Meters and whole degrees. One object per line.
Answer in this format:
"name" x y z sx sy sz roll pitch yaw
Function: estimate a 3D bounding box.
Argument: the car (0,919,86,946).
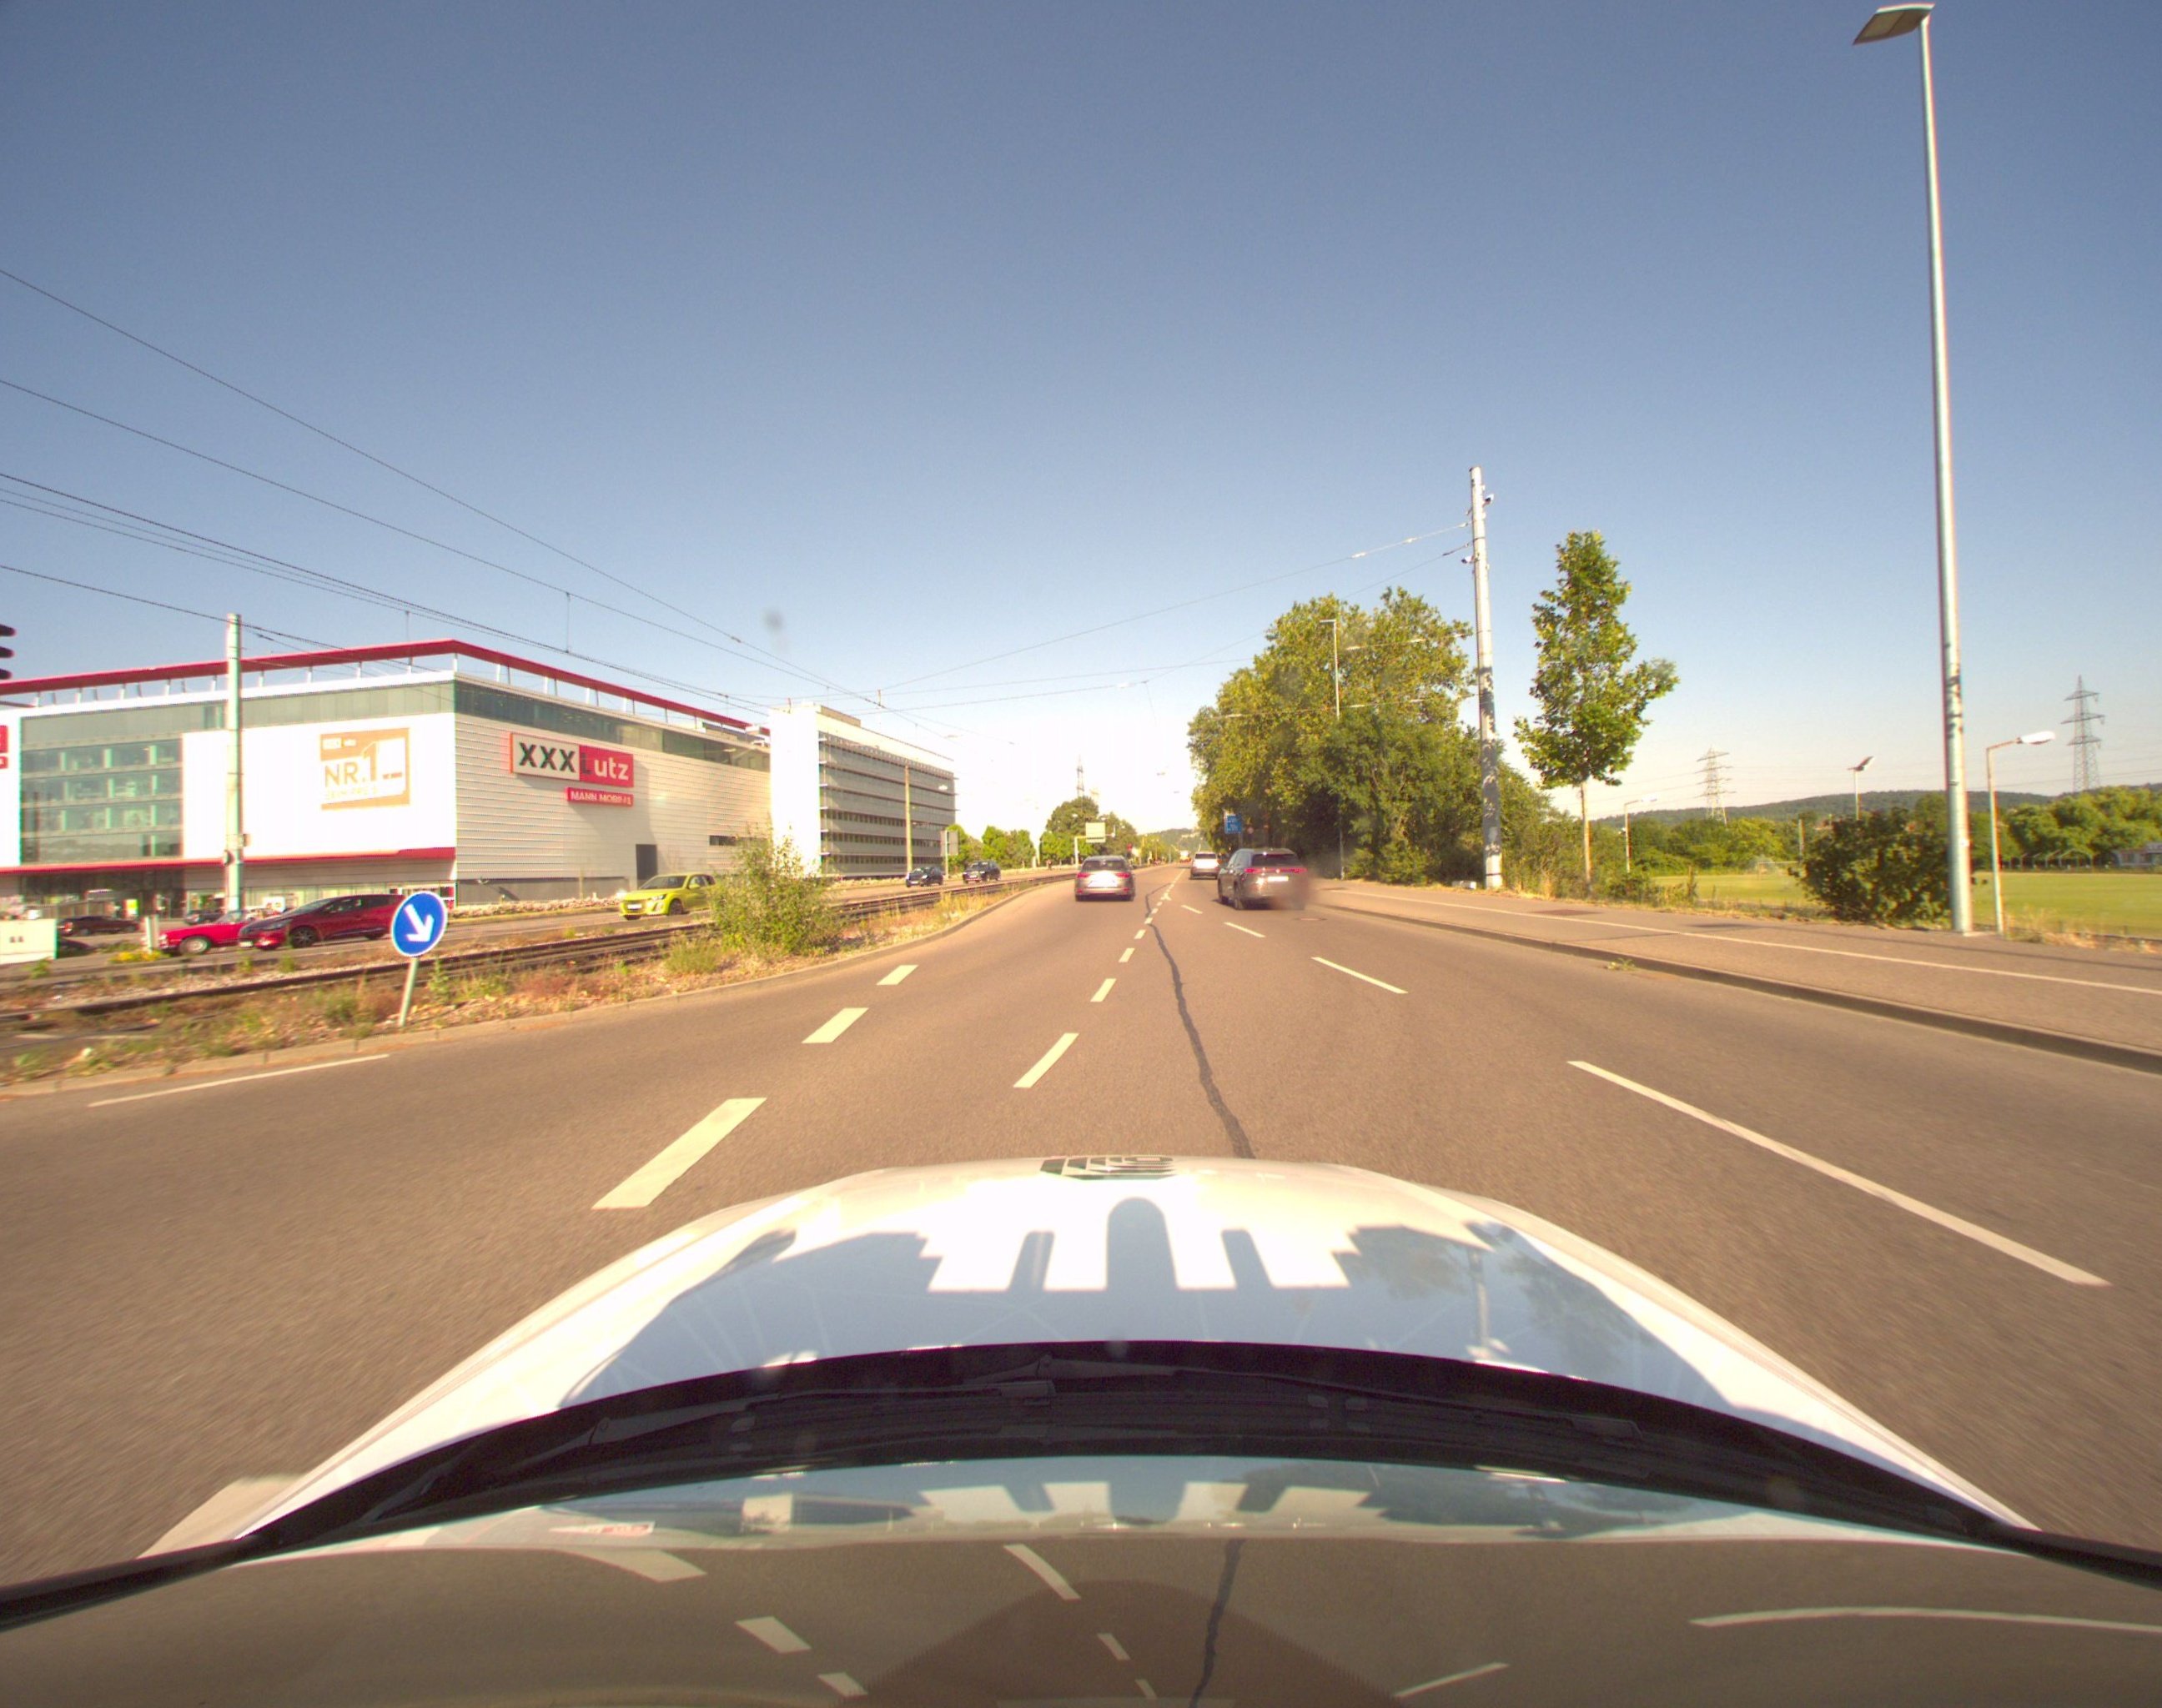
"car" -82.633 6.199 64.719 1.963 1.702 4.010 0 0 8

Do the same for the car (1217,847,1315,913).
"car" 5.027 0.652 22.731 1.837 1.661 4.441 -1 0 1

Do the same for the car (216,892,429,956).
"car" -22.335 2.016 24.211 1.919 1.476 4.152 -5 -1 19

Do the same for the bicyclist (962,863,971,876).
"bicyclist" -13.887 1.858 98.777 0.699 1.512 0.974 0 0 16

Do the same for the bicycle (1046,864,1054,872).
"bicycle" -5.155 2.315 134.219 0.656 1.151 2.031 0 0 19

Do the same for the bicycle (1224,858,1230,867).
"bicycle" 18.245 1.082 101.898 0.618 1.120 1.817 -3 -1 9

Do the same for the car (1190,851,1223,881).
"car" 7.697 0.701 49.989 1.872 1.796 4.009 0 0 8

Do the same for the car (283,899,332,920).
"car" -78.256 5.609 82.467 1.496 1.855 3.300 0 0 11

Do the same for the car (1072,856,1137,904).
"car" 0.876 0.797 27.122 1.857 1.467 4.673 0 0 5

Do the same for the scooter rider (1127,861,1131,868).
"scooter rider" 13.833 2.979 233.997 0.677 1.848 1.005 -3 -1 16

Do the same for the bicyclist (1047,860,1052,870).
"bicyclist" -5.188 1.883 134.118 0.656 1.623 0.805 0 0 18

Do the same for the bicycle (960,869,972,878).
"bicycle" -13.907 2.327 98.715 0.699 1.073 2.036 0 0 16

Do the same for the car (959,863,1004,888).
"car" -7.377 1.581 61.029 1.981 1.655 4.671 -3 0 10

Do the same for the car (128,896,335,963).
"car" -26.277 2.295 25.366 1.804 1.643 4.023 -4 -1 24

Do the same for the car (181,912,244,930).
"car" -80.989 6.254 76.010 1.643 1.368 3.677 0 0 11

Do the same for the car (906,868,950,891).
"car" -11.012 1.797 58.916 1.846 1.461 4.146 -2 0 8

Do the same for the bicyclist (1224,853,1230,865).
"bicyclist" 18.274 0.649 101.917 0.681 1.509 0.893 -2 0 9

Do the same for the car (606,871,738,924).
"car" -13.567 1.398 27.323 1.772 1.447 4.119 -3 -1 10
